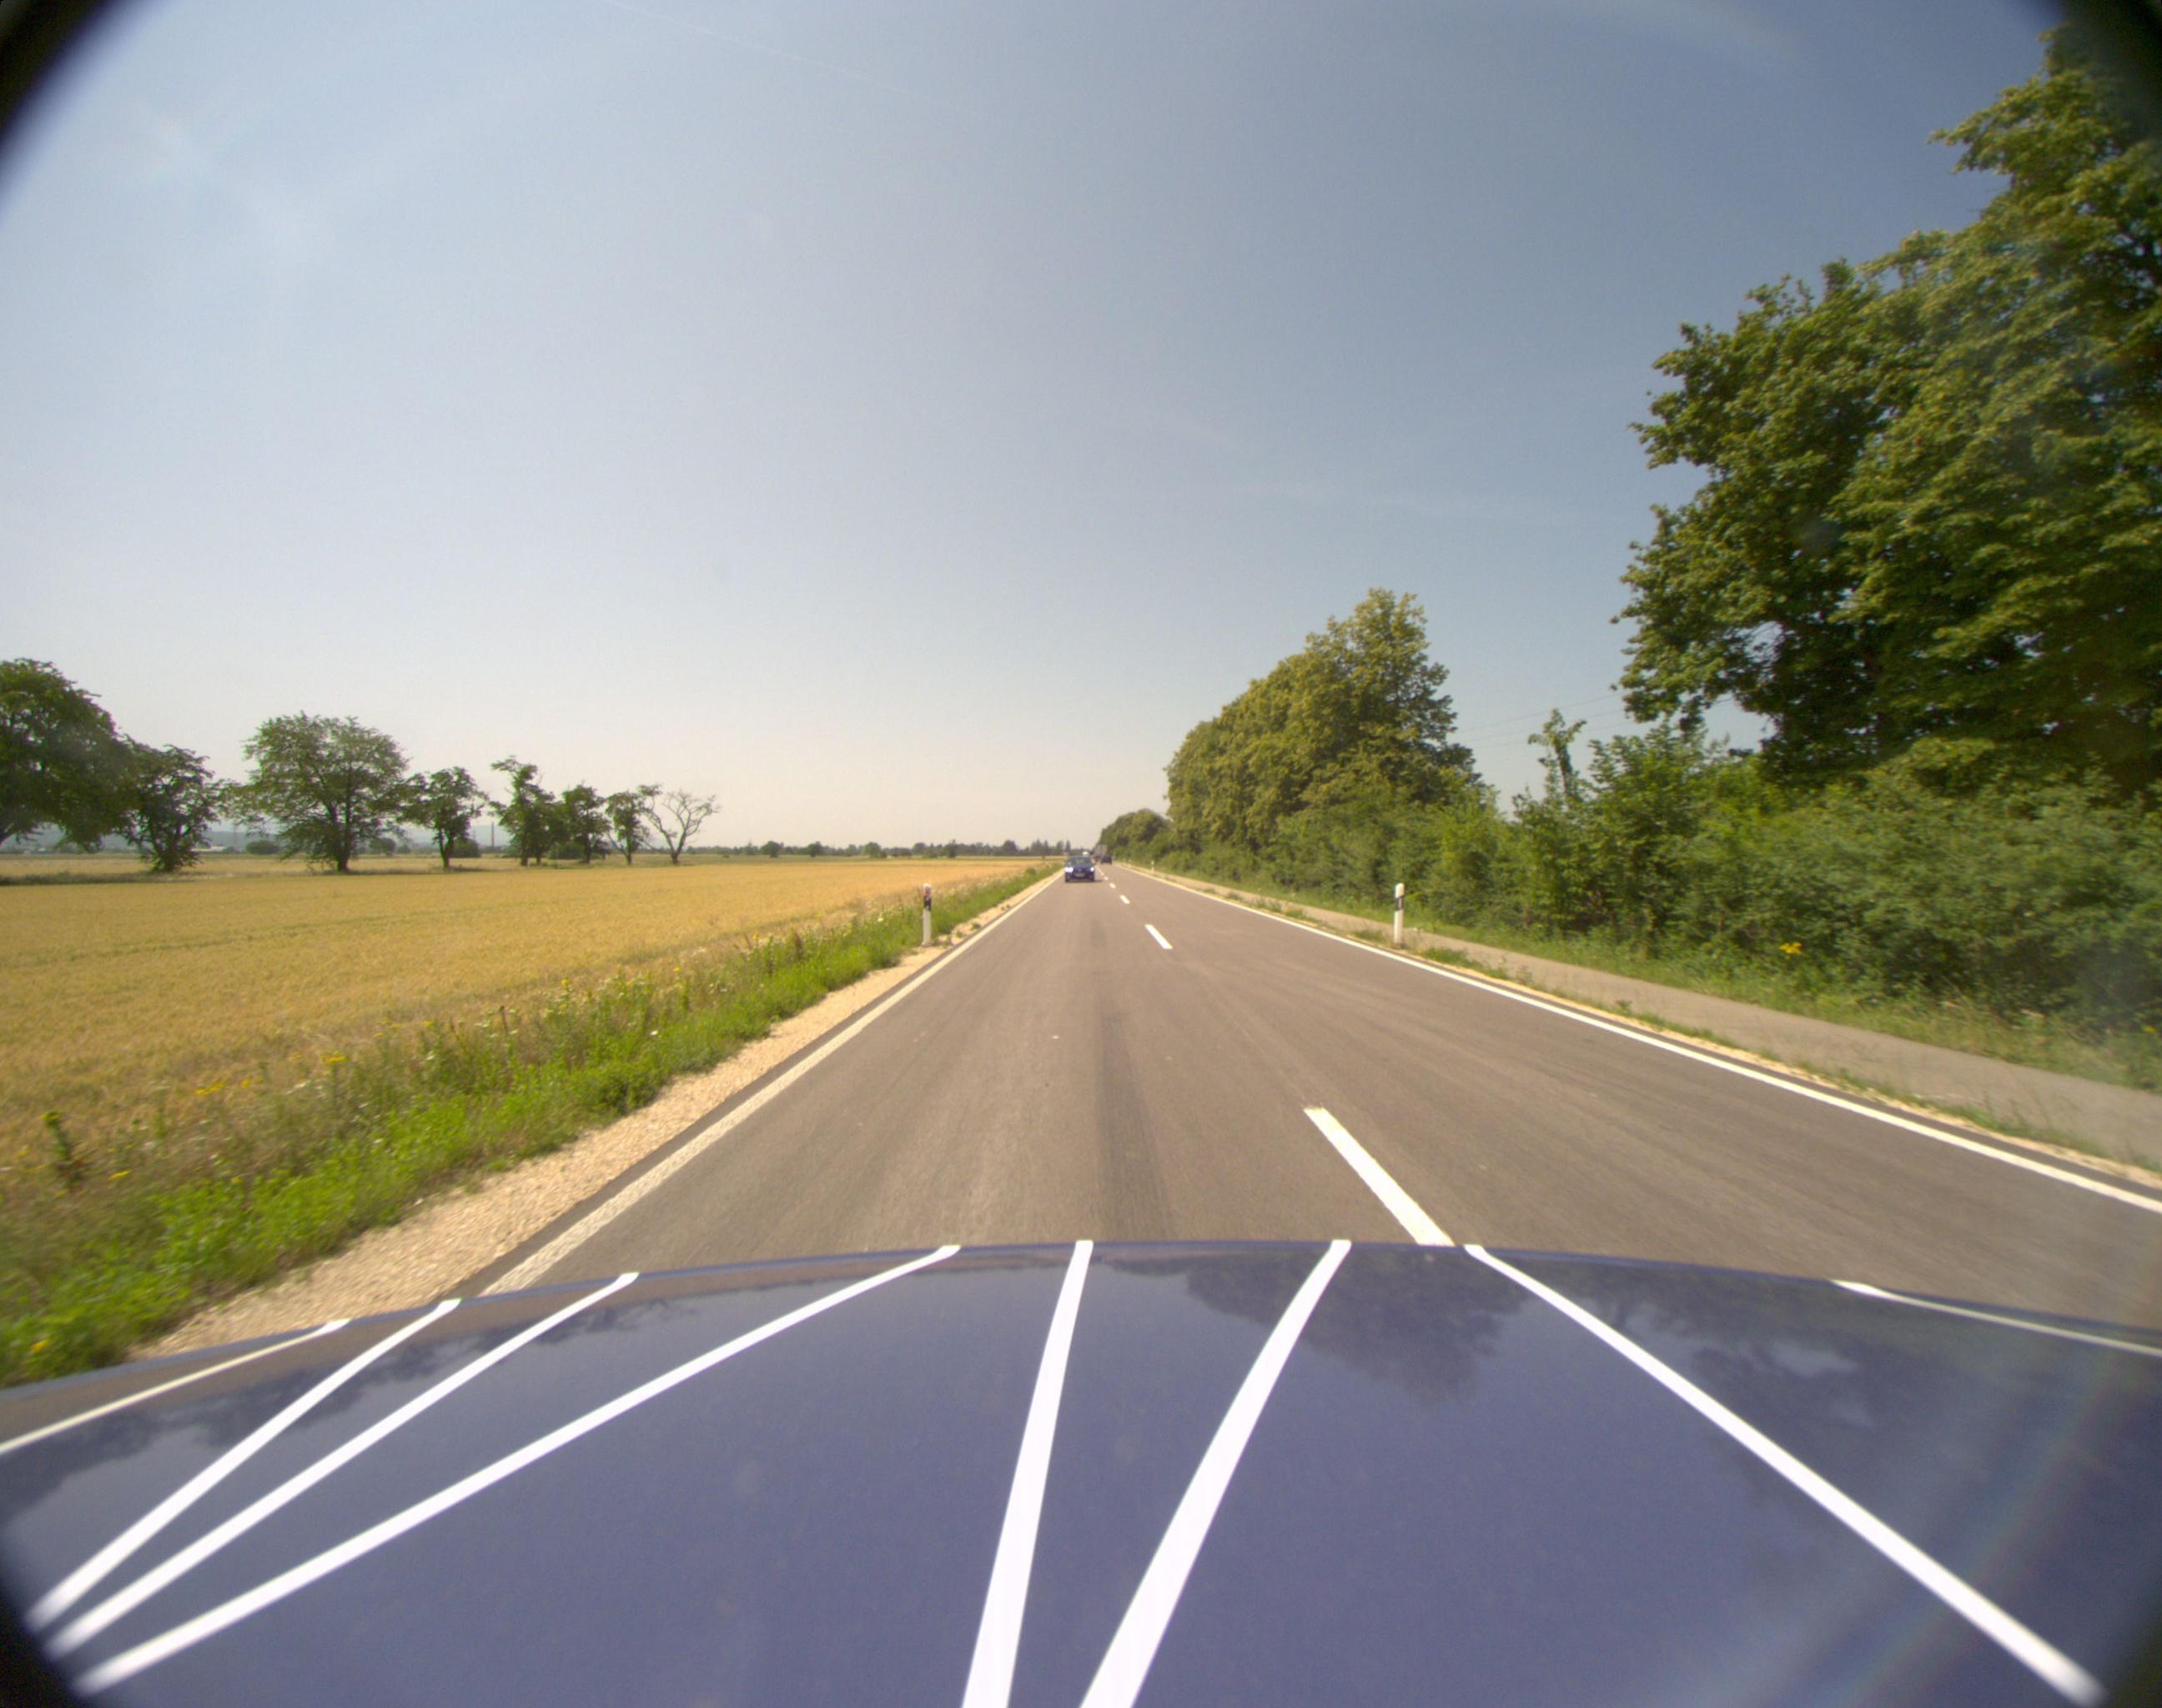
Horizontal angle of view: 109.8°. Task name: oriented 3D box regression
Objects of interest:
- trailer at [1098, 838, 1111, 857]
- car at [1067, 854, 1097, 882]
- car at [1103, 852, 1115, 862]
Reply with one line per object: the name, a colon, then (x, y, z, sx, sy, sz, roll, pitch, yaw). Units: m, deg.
trailer: (5.352, -1.413, 172.680, 2.660, 3.954, 13.353, 1, 0, 1)
car: (0.043, 0.779, 45.122, 1.662, 1.509, 3.999, -1, 0, 0)
car: (4.670, 0.440, 126.197, 1.796, 1.565, 4.478, 1, 0, 0)
